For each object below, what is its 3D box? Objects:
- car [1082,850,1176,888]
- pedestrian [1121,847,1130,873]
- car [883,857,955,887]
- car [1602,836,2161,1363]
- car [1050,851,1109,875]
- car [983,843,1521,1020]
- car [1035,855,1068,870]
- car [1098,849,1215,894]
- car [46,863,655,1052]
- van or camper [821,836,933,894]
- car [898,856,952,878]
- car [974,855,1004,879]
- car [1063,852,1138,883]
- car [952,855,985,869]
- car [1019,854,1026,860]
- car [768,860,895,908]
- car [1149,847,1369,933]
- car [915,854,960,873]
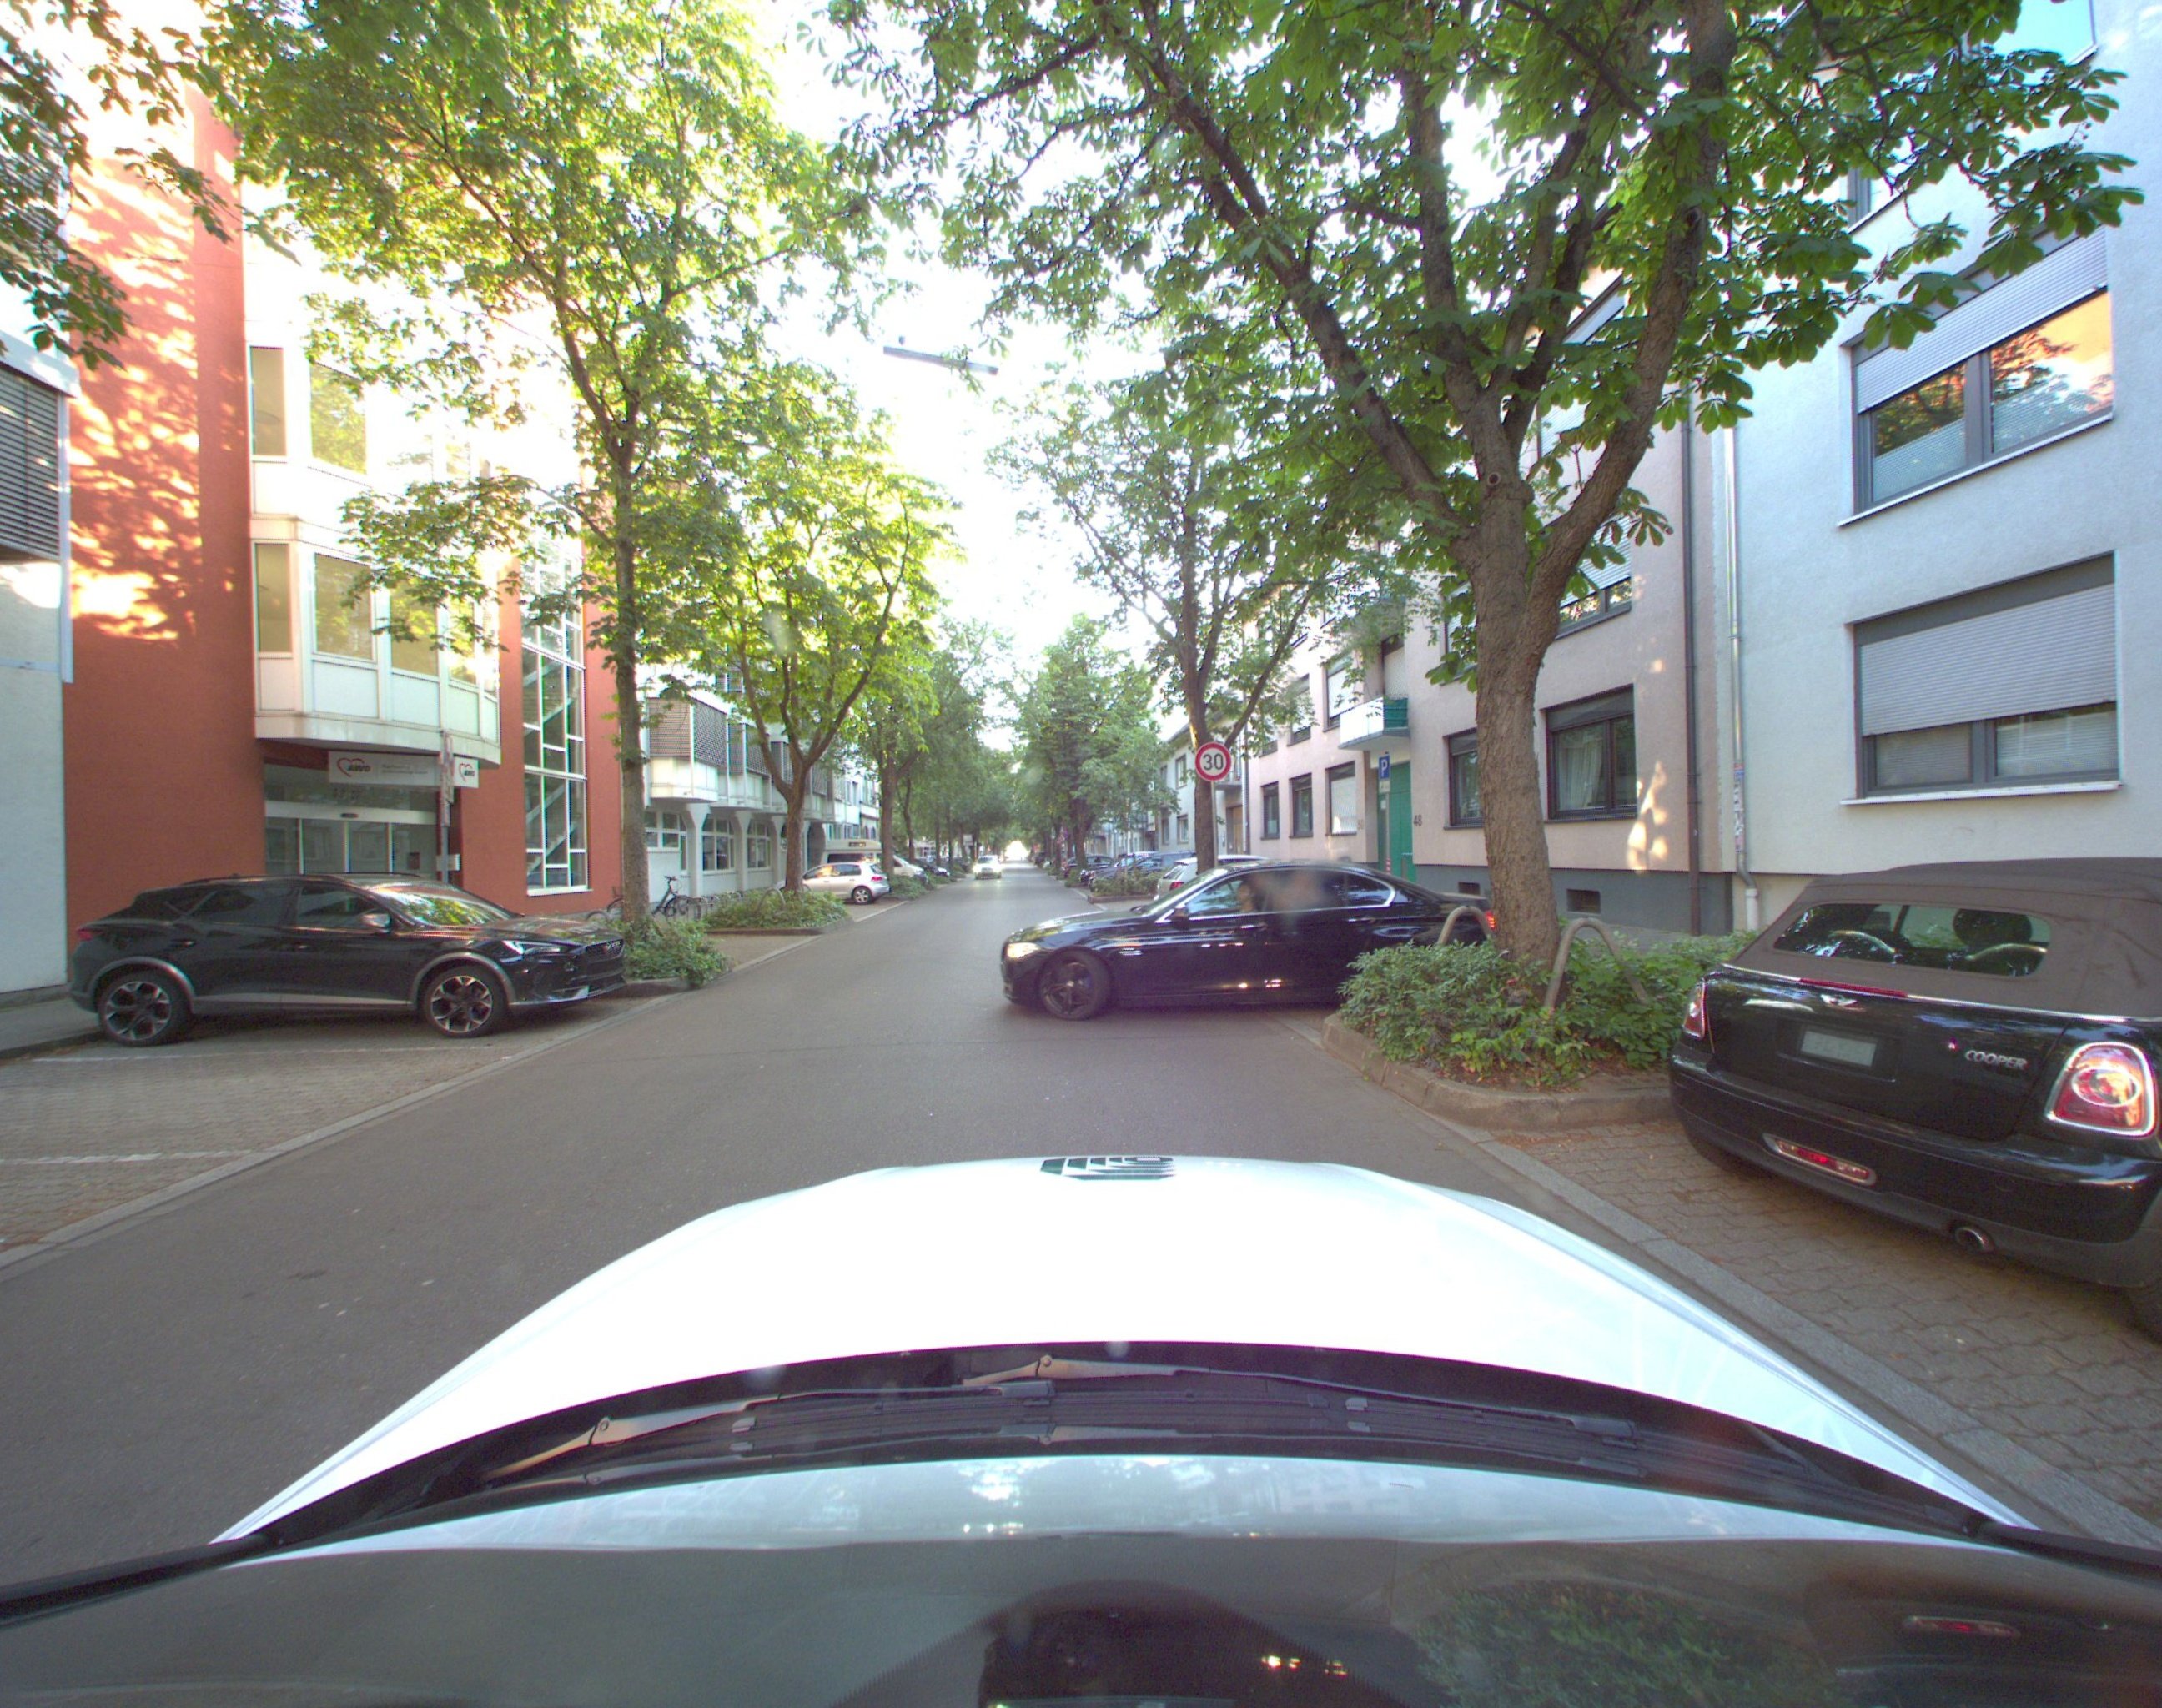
[{"bbox_3d":[2.090,0.655,36.236,3.962,1.527,1.782,-2,0,-5],"label":"car"},{"bbox_3d":[3.489,0.493,64.159,0.587,2.013,0.669,-1,0,-3],"label":"pedestrian"},{"bbox_3d":[-9.578,1.033,48.418,3.960,1.619,1.783,-2,0,-4],"label":"car"},{"bbox_3d":[4.353,0.625,3.262,3.608,1.363,1.660,-2,0,-8],"label":"car"},{"bbox_3d":[-0.156,0.646,56.982,3.963,1.527,1.781,-2,0,-6],"label":"car"},{"bbox_3d":[1.549,0.704,8.175,4.724,1.480,1.802,-2,0,3],"label":"car"},{"bbox_3d":[-3.698,1.038,101.049,3.959,1.684,1.783,-2,0,-4],"label":"car"},{"bbox_3d":[2.702,0.621,29.741,3.963,1.476,1.781,-2,0,-7],"label":"car"},{"bbox_3d":[-7.015,0.924,8.269,4.347,1.517,1.782,-2,0,-5],"label":"car"},{"bbox_3d":[-9.279,0.475,37.414,4.656,2.478,1.997,-2,0,-5],"label":"van or camper"},{"bbox_3d":[-12.378,1.057,64.965,3.959,1.619,1.783,-2,0,-4],"label":"car"},{"bbox_3d":[-6.400,0.912,57.044,1.775,1.562,4.163,-1,0,-4],"label":"car"},{"bbox_3d":[1.033,0.731,45.078,3.962,1.527,1.782,-2,0,-5],"label":"car"},{"bbox_3d":[-14.208,1.017,102.734,3.959,1.619,1.783,-2,0,-4],"label":"car"},{"bbox_3d":[-15.469,0.677,214.182,1.819,1.530,3.995,-1,0,-4],"label":"car"},{"bbox_3d":[-8.835,1.042,29.081,3.960,1.517,1.783,-2,0,-4],"label":"car"},{"bbox_3d":[3.439,0.666,16.112,3.904,1.476,1.661,-2,0,-7],"label":"car"},{"bbox_3d":[-13.492,0.854,76.619,3.959,1.619,1.783,-2,0,-4],"label":"car"}]
